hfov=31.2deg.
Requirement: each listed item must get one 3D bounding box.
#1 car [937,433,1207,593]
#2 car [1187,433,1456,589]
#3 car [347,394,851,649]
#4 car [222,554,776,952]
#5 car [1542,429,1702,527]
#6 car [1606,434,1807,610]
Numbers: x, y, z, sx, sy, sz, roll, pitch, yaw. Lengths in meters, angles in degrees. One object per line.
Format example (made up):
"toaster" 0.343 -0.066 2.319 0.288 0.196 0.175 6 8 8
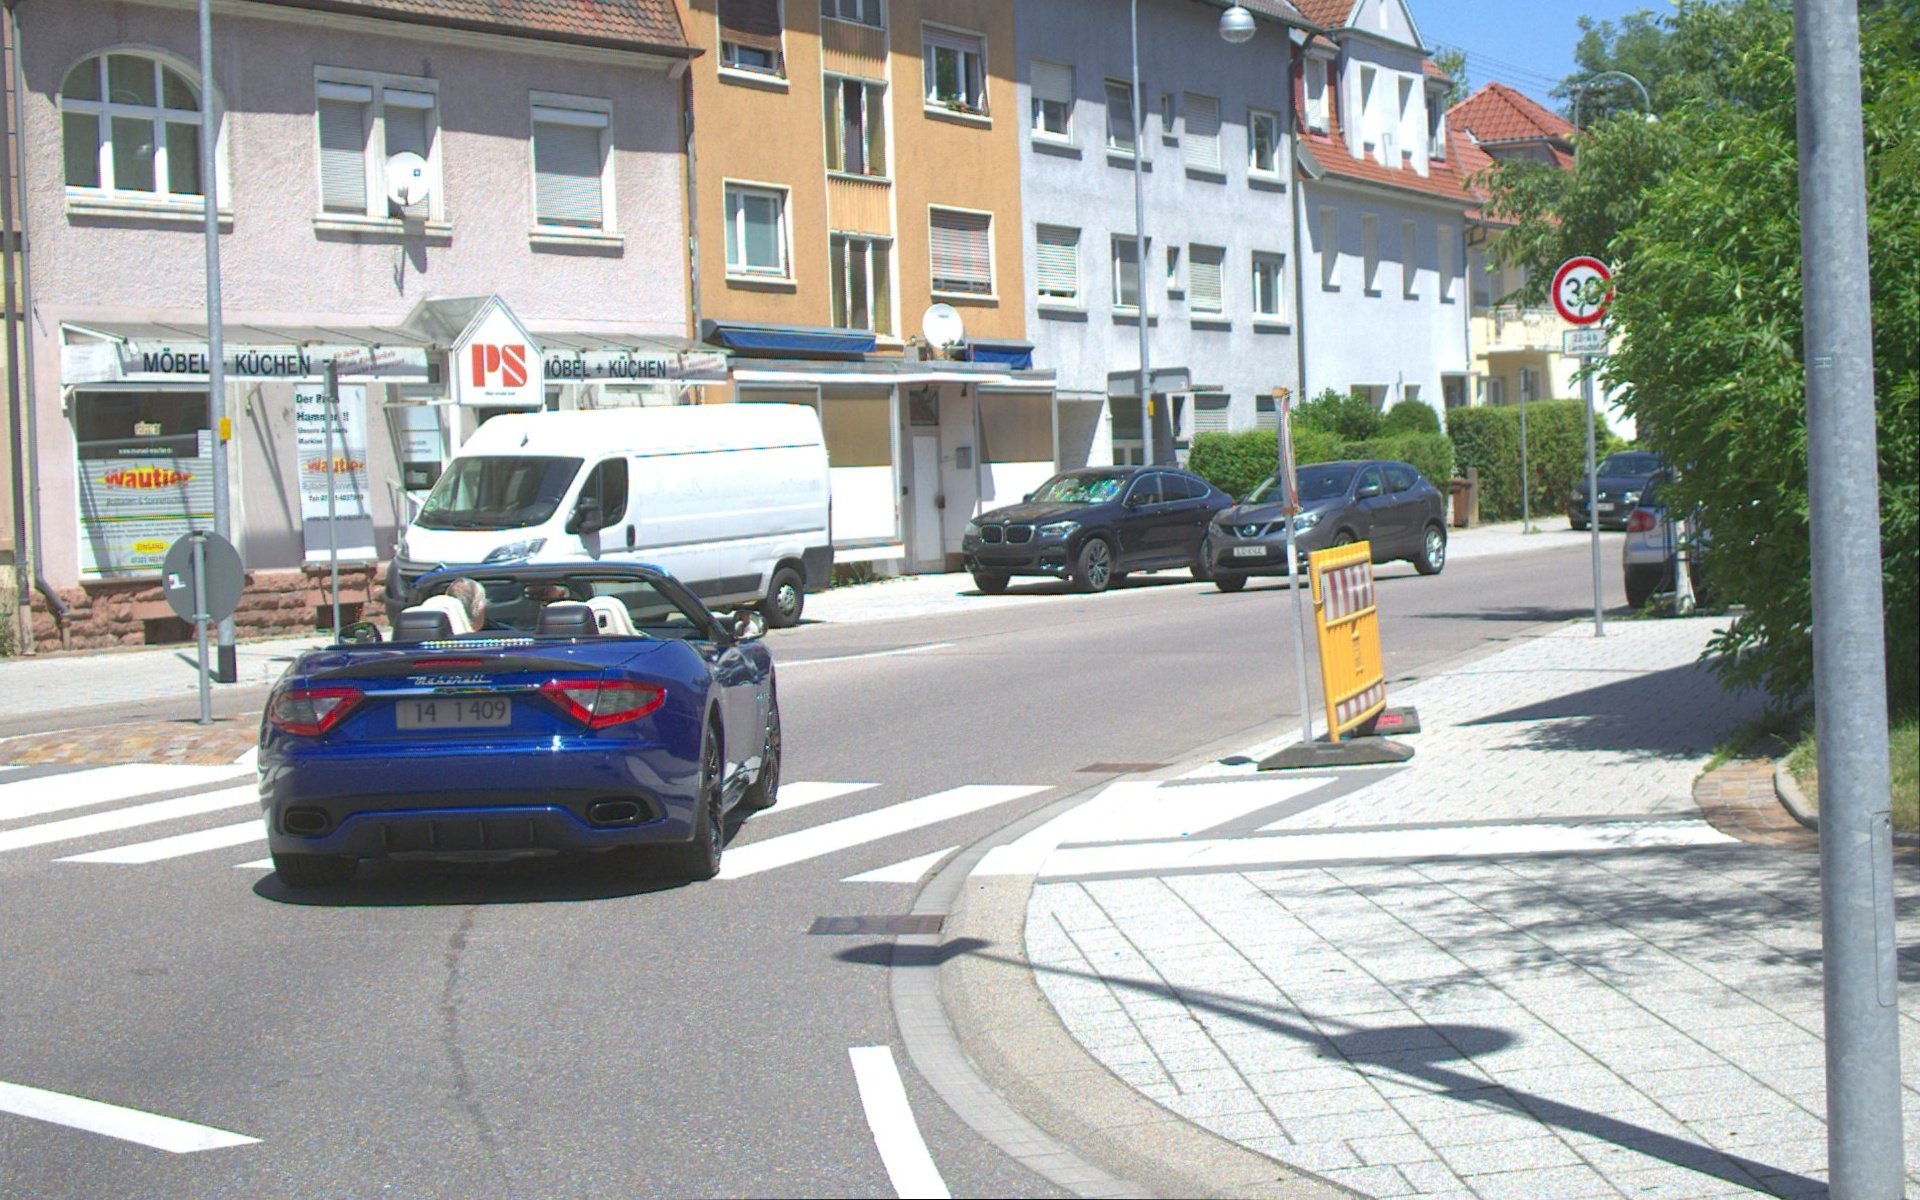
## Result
"car" 1.564 -1.204 46.375 2.070 2.006 3.995 -2 2 27
"car" 4.728 -1.184 44.462 1.996 1.808 4.207 -3 1 27
"car" -3.750 -0.939 37.224 2.148 2.524 6.228 1 3 30
"car" -1.946 0.598 15.851 1.871 1.525 4.507 -2 0 1
"car" 12.354 -2.287 64.009 1.844 1.700 3.797 -2 2 28
"car" 7.844 -0.851 35.919 1.880 1.625 3.589 -1 4 15
